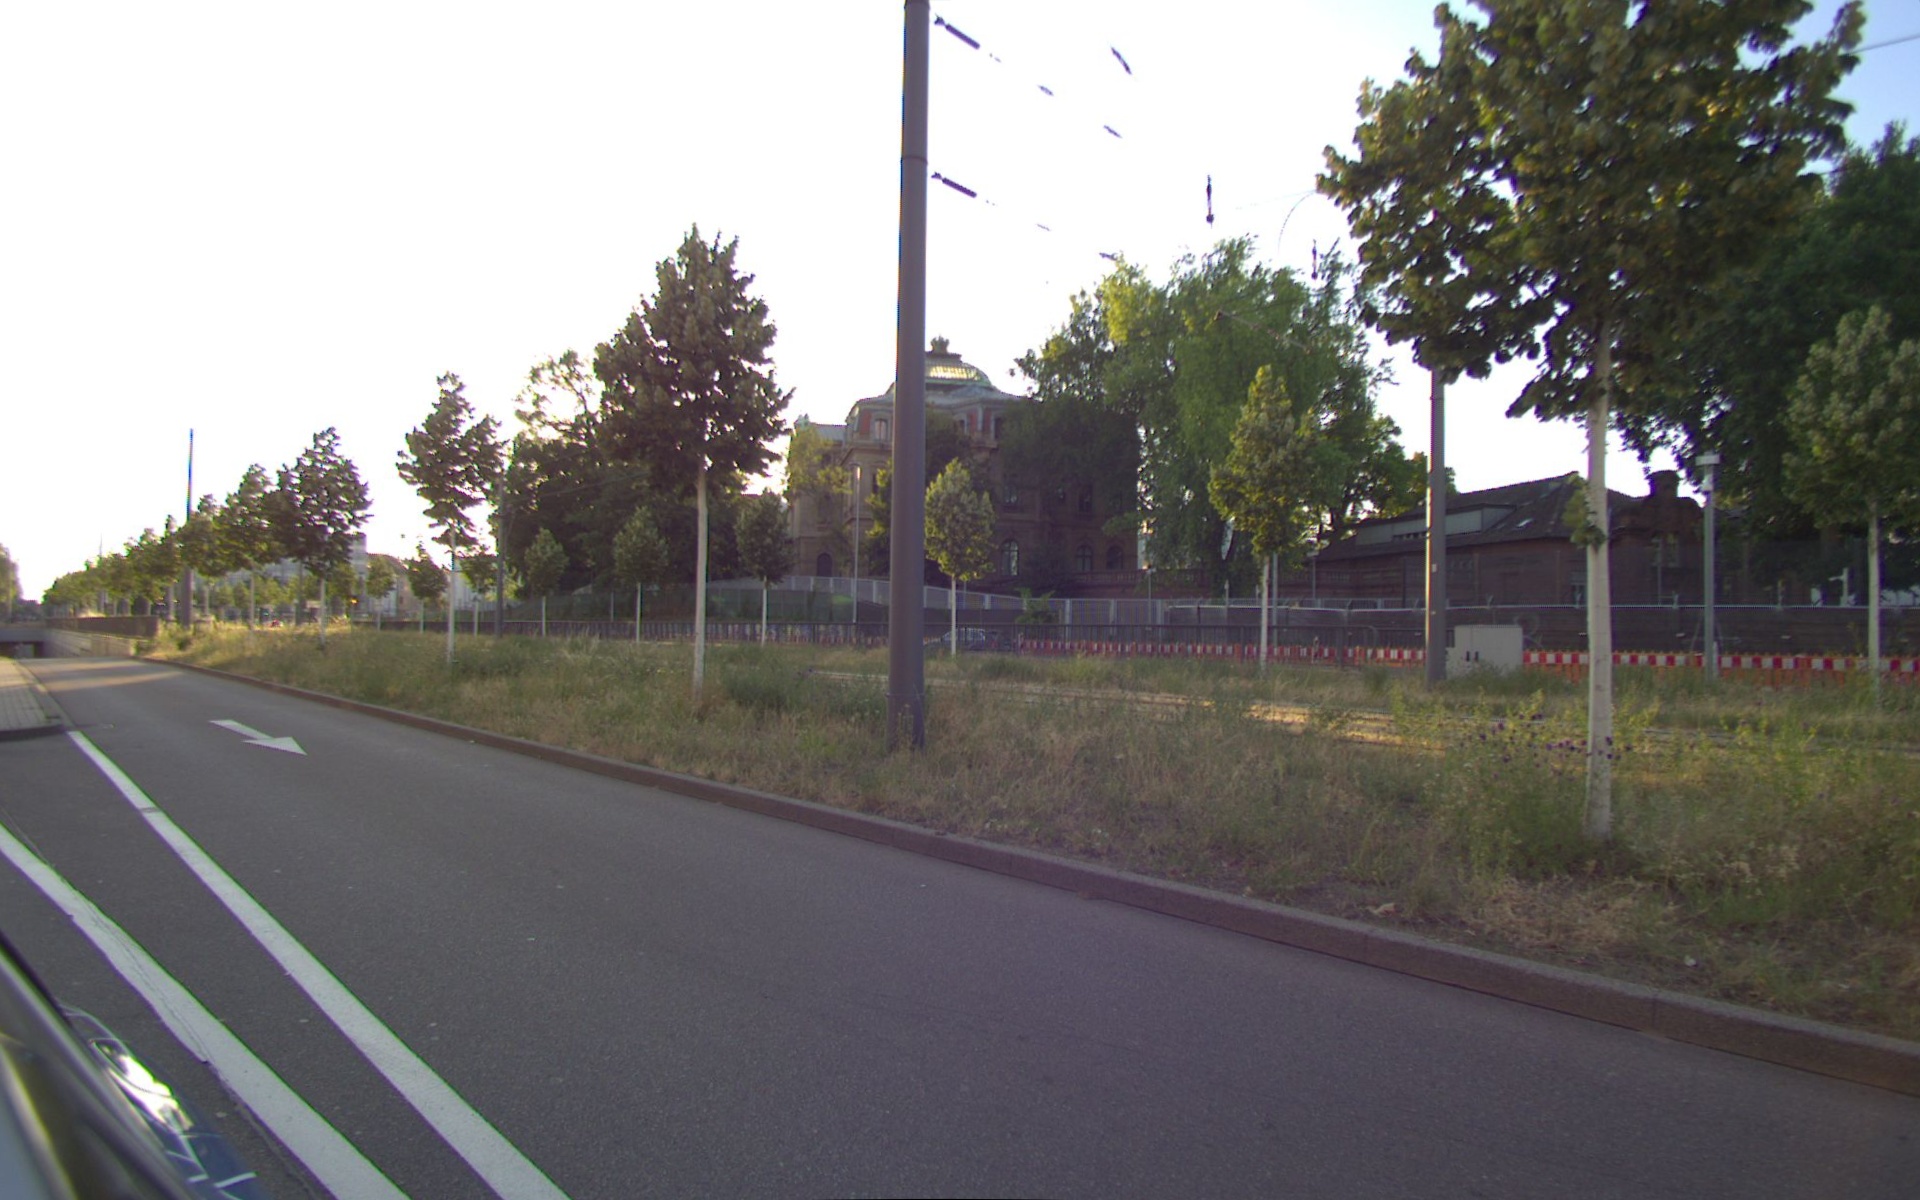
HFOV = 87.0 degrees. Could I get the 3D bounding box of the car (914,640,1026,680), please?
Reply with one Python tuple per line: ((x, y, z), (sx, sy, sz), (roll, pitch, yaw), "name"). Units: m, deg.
((0.361, 2.428, 41.570), (1.910, 1.492, 4.524), (0, -2, -45), "car")
